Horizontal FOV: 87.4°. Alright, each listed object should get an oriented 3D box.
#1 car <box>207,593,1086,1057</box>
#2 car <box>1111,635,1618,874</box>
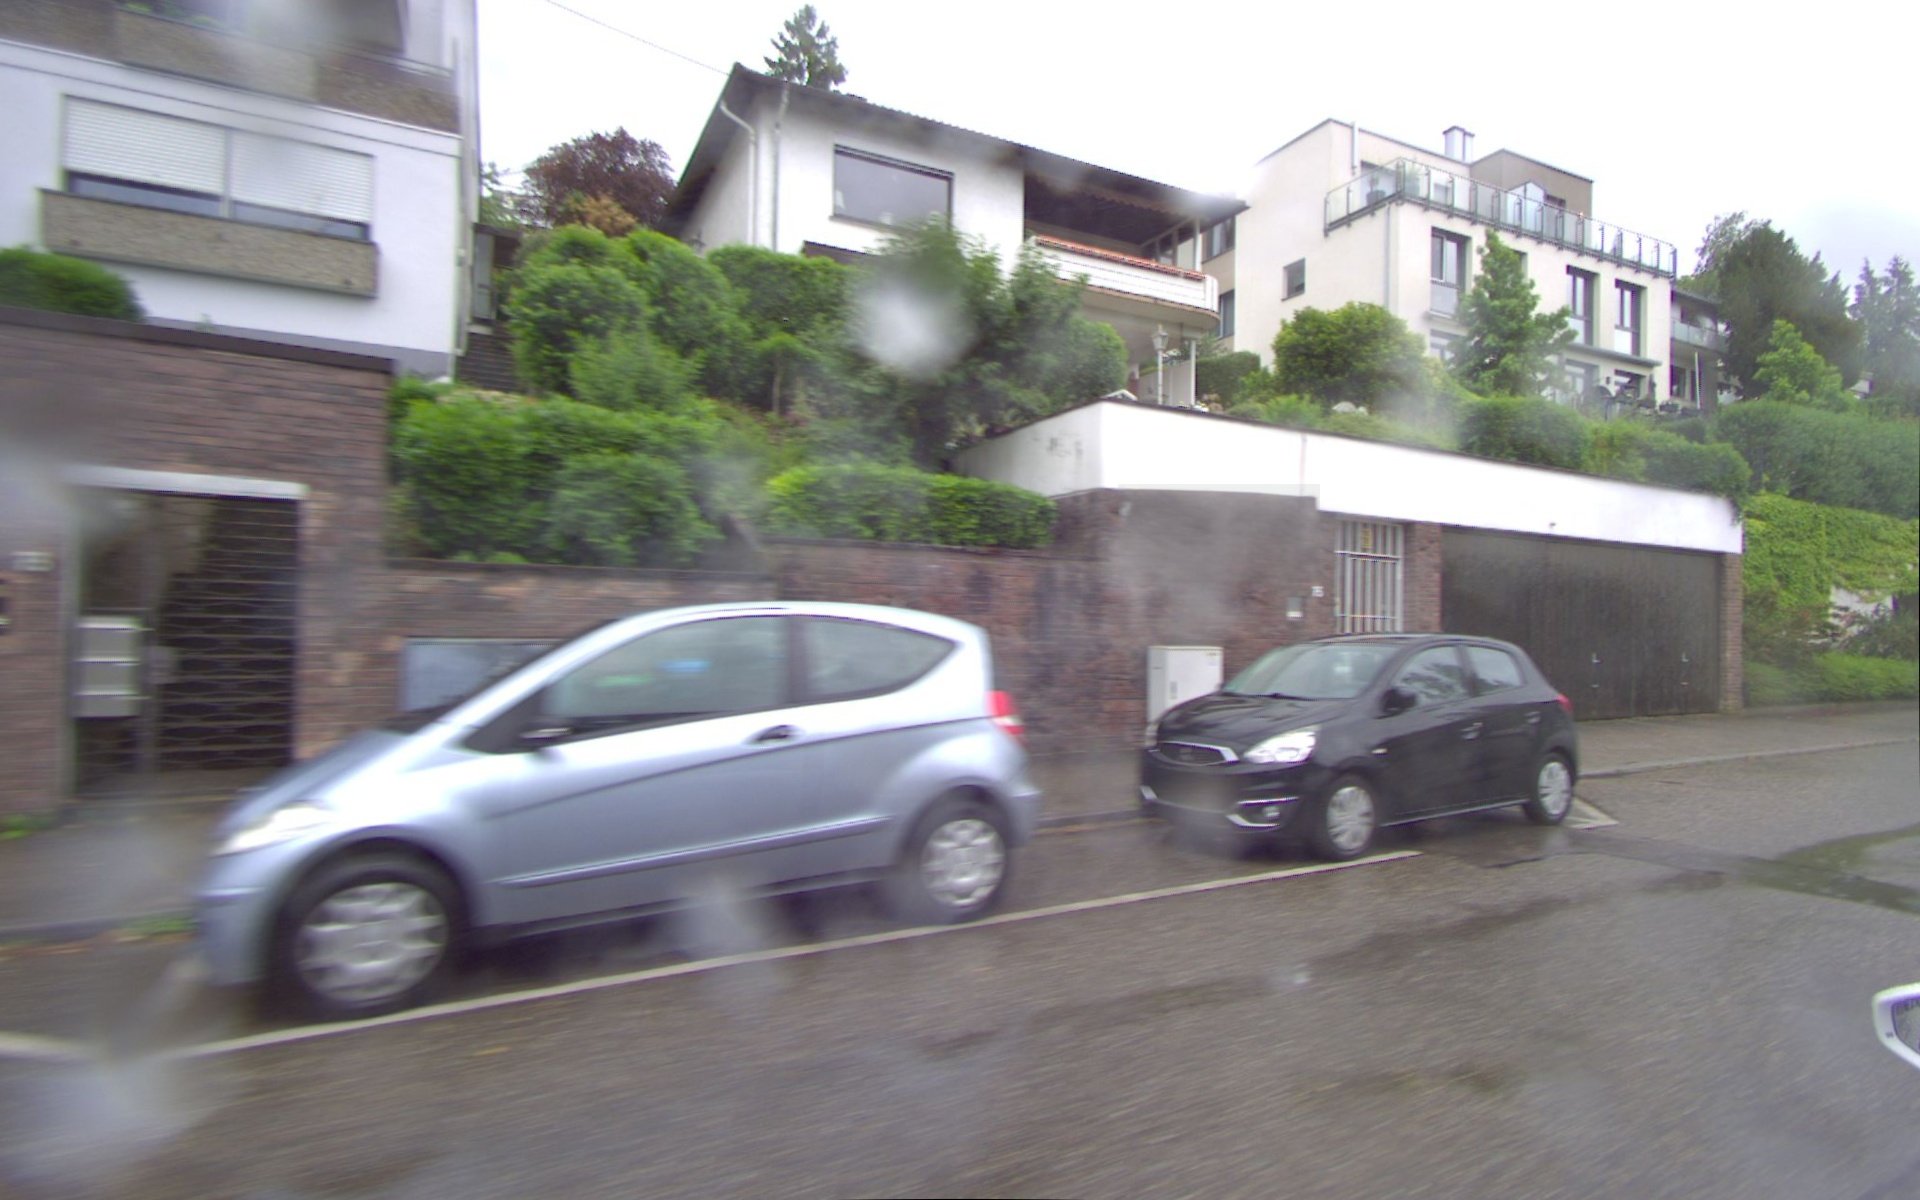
[{"bbox_3d":[-1.378,0.835,5.121,3.712,1.559,1.748,1,-4,-31],"label":"car"},{"bbox_3d":[3.159,1.012,7.760,3.661,1.427,1.748,1,-4,-31],"label":"car"}]
